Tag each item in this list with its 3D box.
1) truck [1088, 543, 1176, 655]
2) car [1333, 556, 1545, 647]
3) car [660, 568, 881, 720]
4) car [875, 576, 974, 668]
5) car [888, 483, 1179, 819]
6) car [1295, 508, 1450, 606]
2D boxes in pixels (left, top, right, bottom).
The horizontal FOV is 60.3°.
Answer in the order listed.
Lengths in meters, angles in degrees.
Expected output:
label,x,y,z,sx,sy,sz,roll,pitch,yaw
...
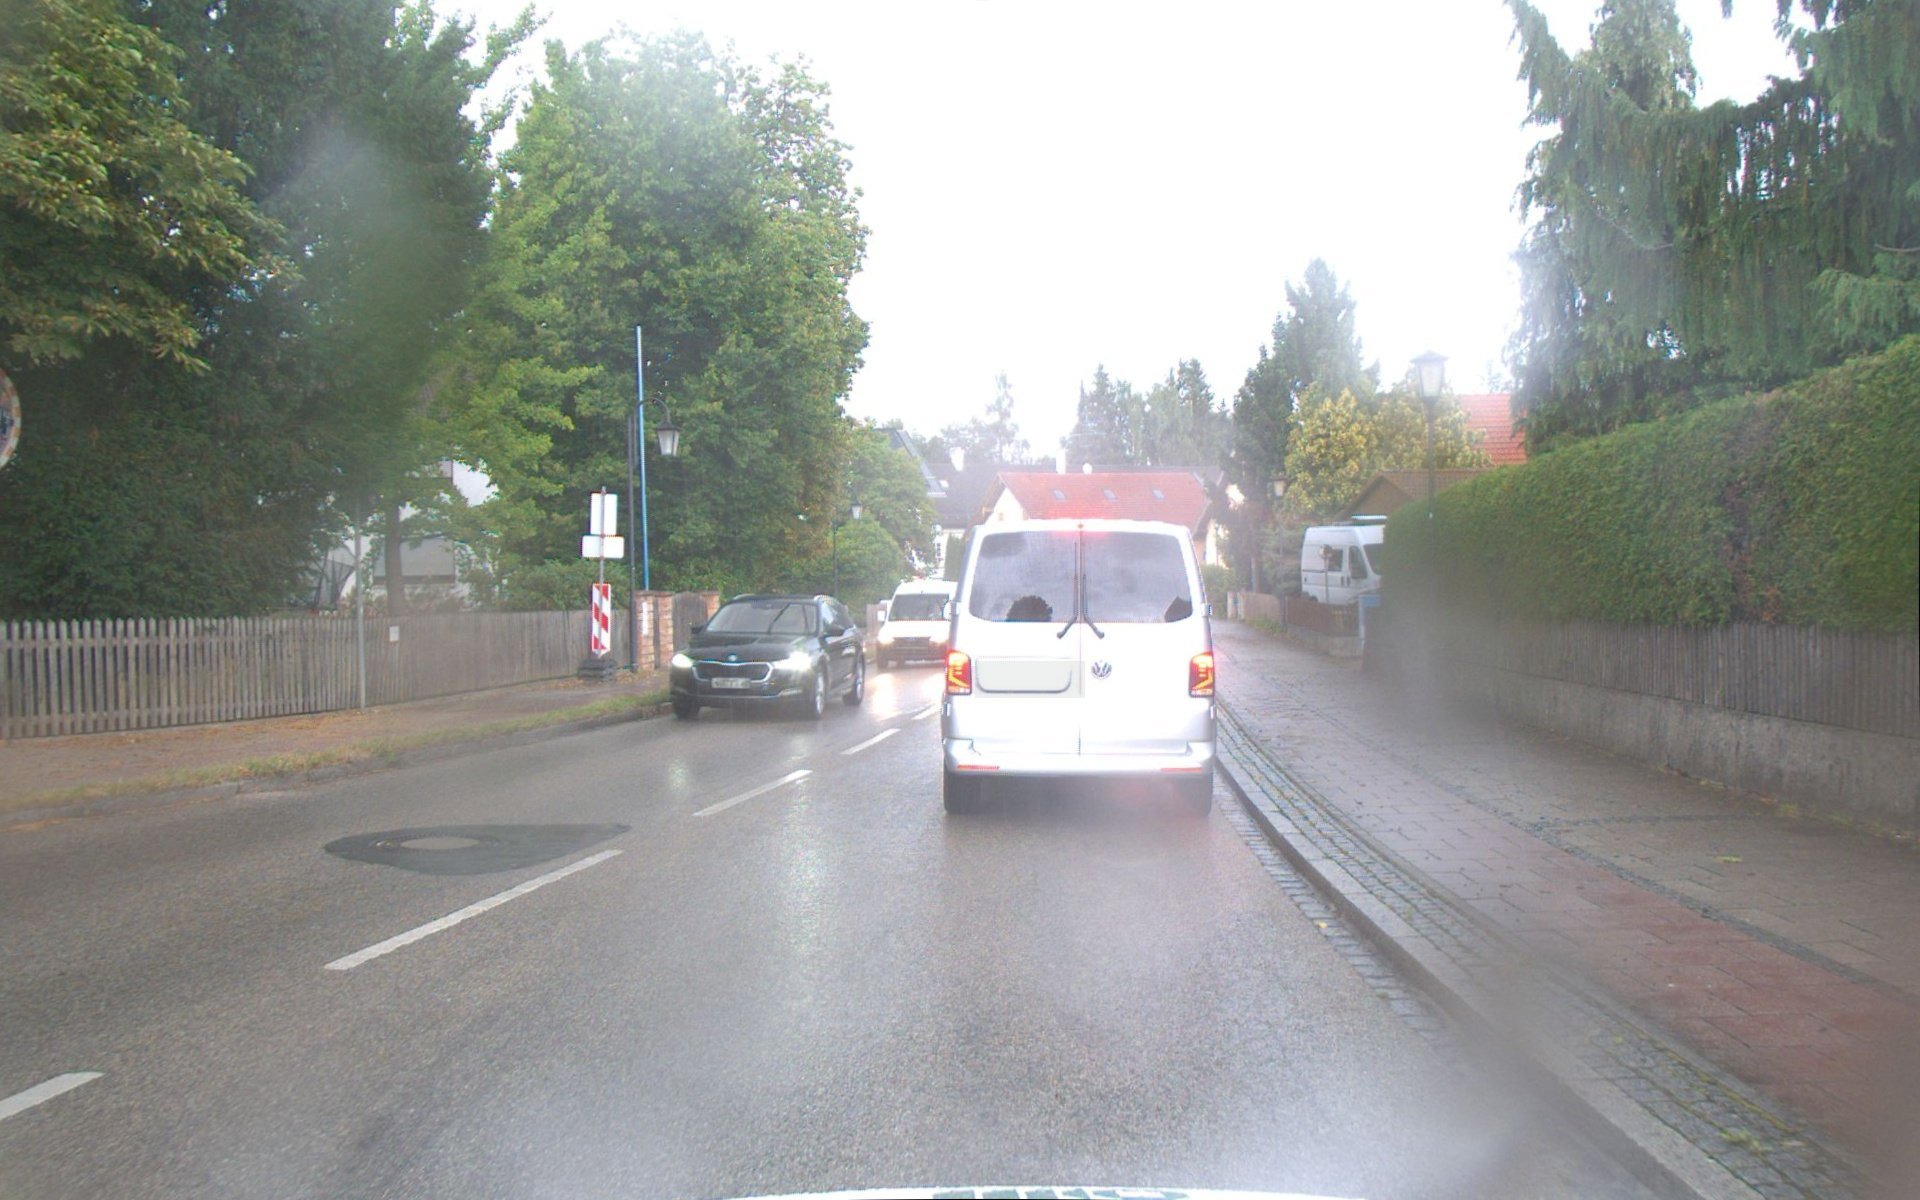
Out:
label,x,y,z,sx,sy,sz,roll,pitch,yaw
truck,5.151,0.000,50.050,2.423,3.128,6.299,1,0,5
car,10.066,0.007,34.970,4.008,1.782,1.695,-1,2,2
car,-2.240,0.513,20.746,1.746,1.692,4.449,0,-1,7
car,-0.696,0.452,35.164,1.605,1.796,4.333,1,0,5
car,0.708,0.324,12.246,1.762,2.049,4.003,1,0,8
car,9.945,-0.967,40.286,1.956,2.211,4.944,1,0,-8
